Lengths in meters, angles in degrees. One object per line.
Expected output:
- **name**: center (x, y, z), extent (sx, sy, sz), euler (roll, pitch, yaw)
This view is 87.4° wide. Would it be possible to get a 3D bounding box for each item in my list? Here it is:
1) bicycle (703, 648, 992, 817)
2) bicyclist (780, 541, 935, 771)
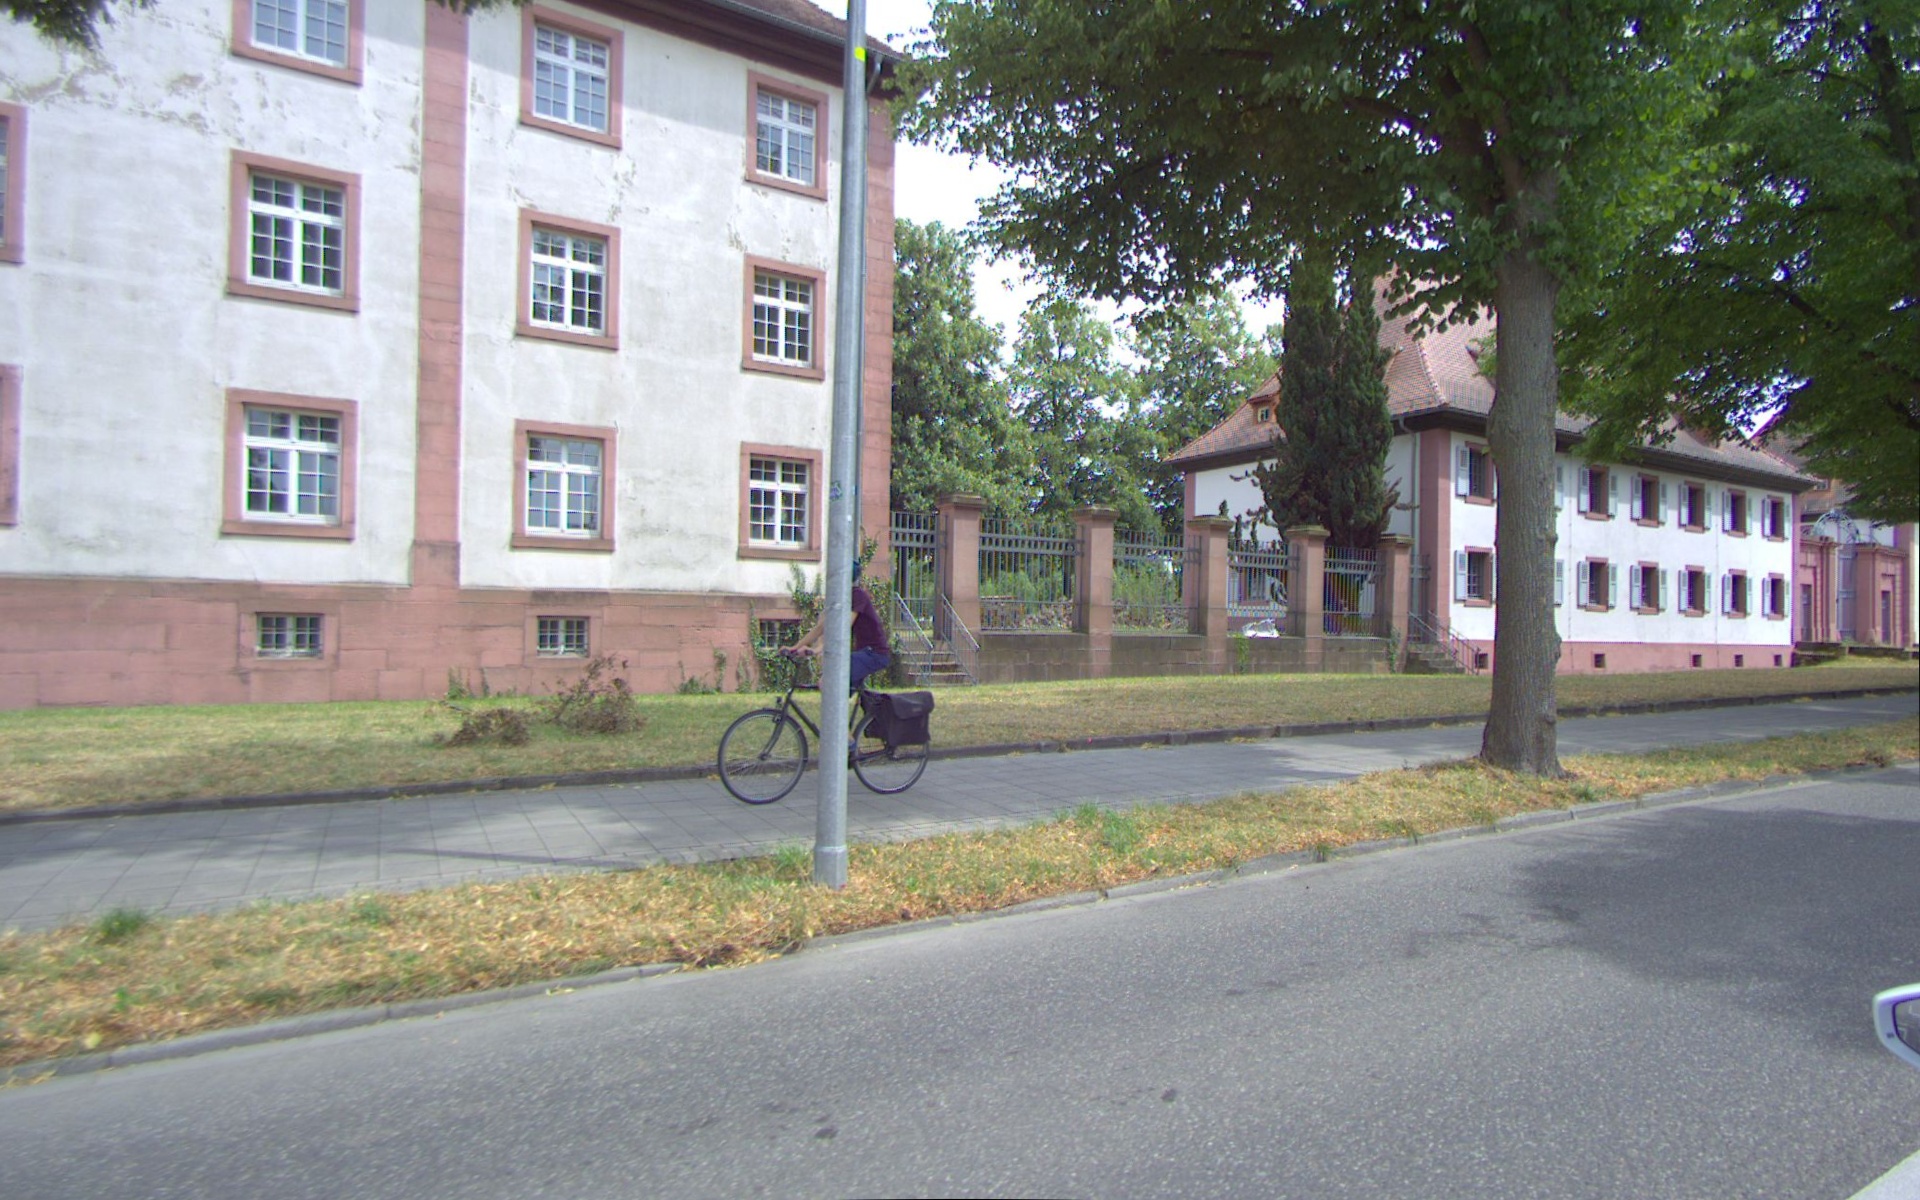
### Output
- **bicycle**: center (-0.855, 0.971, 7.883), extent (2.126, 1.110, 0.719), euler (1, 3, -31)
- **bicyclist**: center (-0.812, 0.405, 7.874), extent (0.947, 1.678, 0.719), euler (1, 3, -30)
